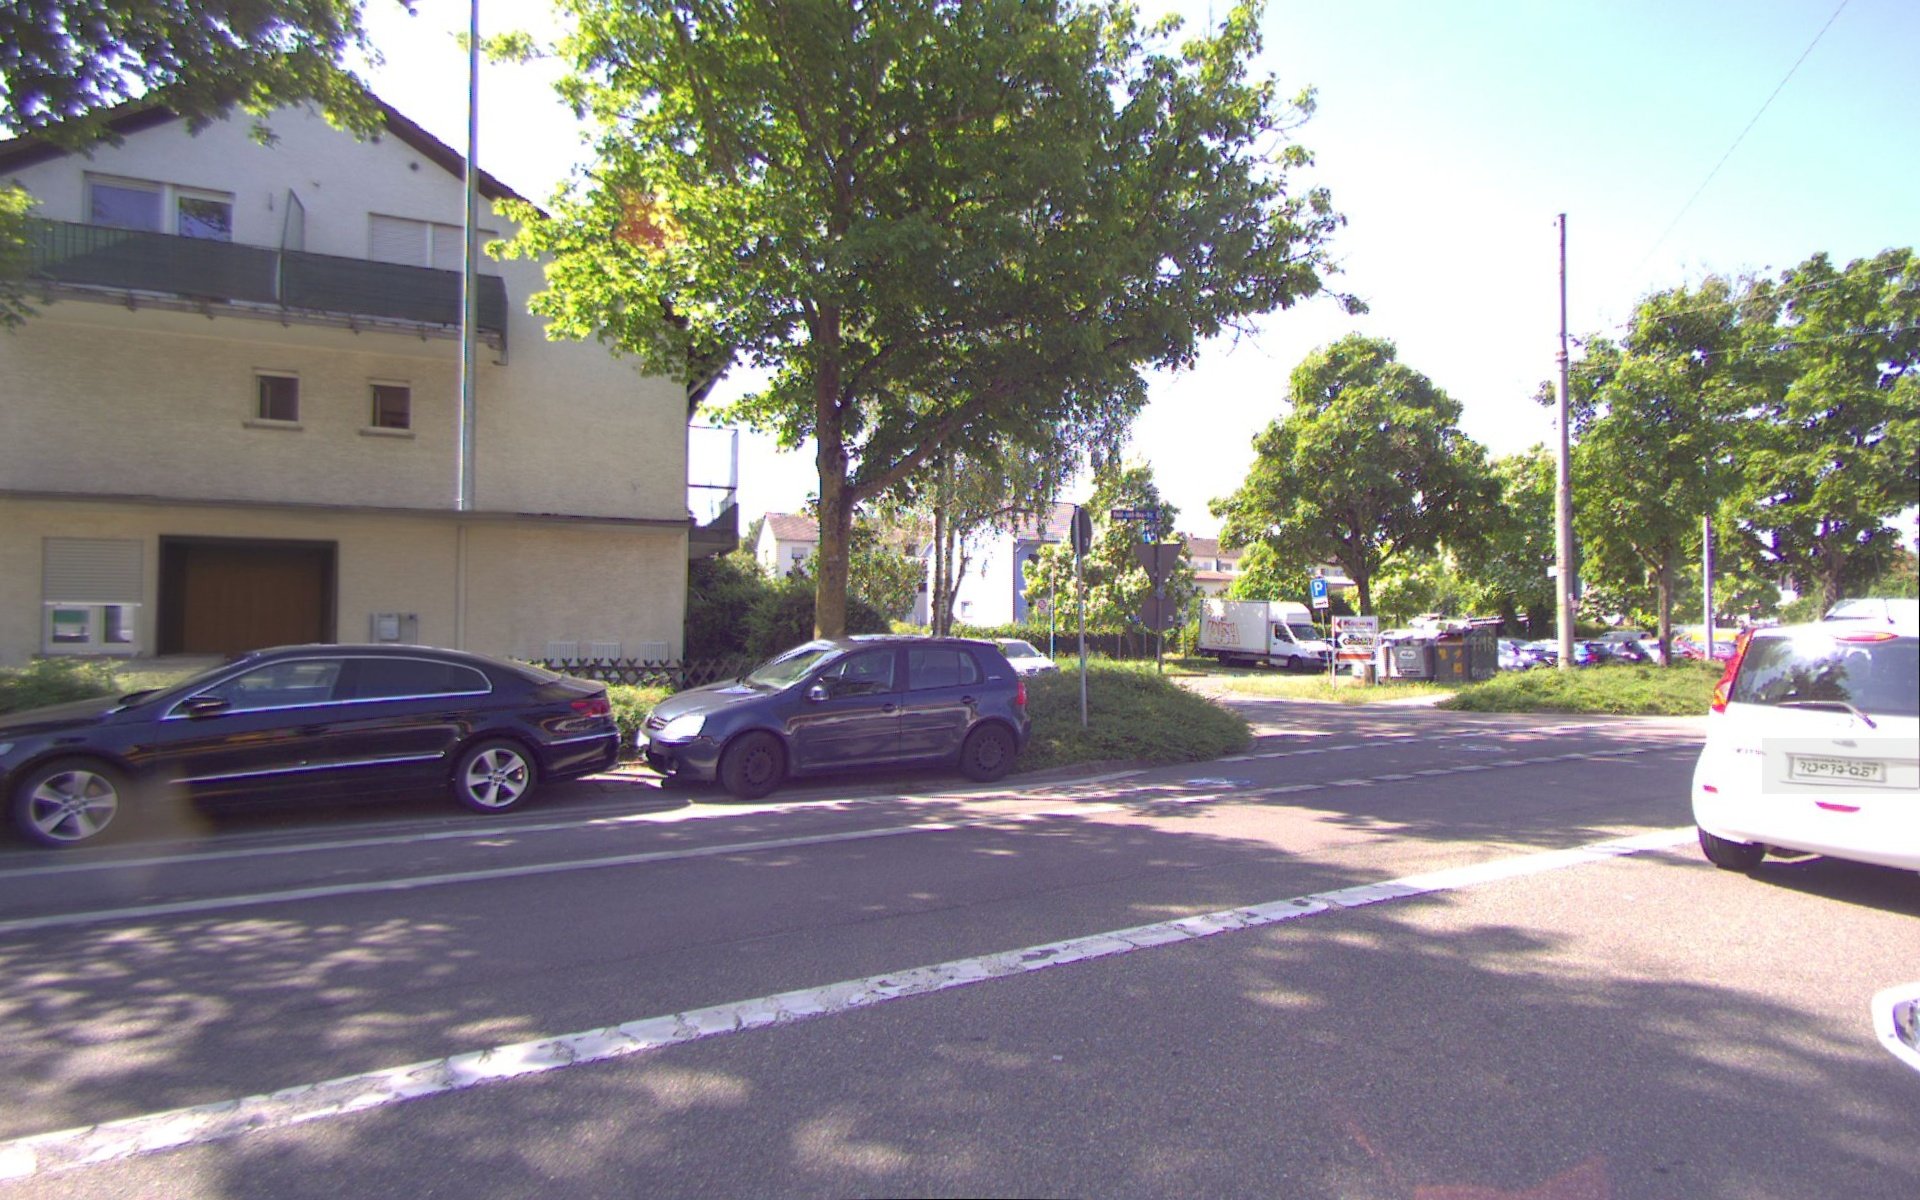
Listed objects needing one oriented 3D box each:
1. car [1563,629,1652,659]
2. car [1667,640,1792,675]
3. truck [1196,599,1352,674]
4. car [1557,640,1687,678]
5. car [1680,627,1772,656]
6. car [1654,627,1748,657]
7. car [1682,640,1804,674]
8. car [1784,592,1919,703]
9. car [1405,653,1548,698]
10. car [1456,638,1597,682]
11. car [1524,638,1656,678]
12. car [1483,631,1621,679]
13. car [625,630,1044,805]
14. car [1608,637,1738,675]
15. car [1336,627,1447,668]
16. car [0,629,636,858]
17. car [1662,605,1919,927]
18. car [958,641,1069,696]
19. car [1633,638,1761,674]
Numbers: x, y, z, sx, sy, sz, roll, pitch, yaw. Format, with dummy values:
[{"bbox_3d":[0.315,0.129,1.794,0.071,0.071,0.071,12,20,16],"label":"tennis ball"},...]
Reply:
[{"bbox_3d":[44.618,3.032,69.292,2.043,1.811,4.762,2,0,-34],"label":"car"},{"bbox_3d":[33.181,2.474,43.410,1.712,1.434,3.964,2,-4,-33],"label":"car"},{"bbox_3d":[14.456,1.597,46.817,2.646,3.151,6.967,1,0,-30],"label":"truck"},{"bbox_3d":[26.340,2.356,40.099,1.712,1.434,3.964,2,-4,-33],"label":"car"},{"bbox_3d":[54.459,2.949,71.488,2.043,1.811,4.762,2,0,-34],"label":"car"},{"bbox_3d":[50.609,2.816,68.685,2.043,1.811,4.762,2,0,-34],"label":"car"},{"bbox_3d":[34.940,2.560,44.919,1.712,1.434,3.964,2,-4,-33],"label":"car"},{"bbox_3d":[23.802,1.161,25.737,5.745,2.550,2.114,1,0,-29],"label":"car"},{"bbox_3d":[17.336,2.510,33.865,1.712,1.434,3.964,2,-4,-33],"label":"car"},{"bbox_3d":[19.709,2.097,35.087,1.712,1.434,3.964,2,-4,-33],"label":"car"},{"bbox_3d":[24.186,2.237,38.676,1.712,1.434,3.964,2,-4,-33],"label":"car"},{"bbox_3d":[21.372,1.992,36.432,1.712,1.631,3.964,2,-4,-33],"label":"car"},{"bbox_3d":[-1.273,1.088,10.460,3.988,1.462,1.718,1,0,-28],"label":"car"},{"bbox_3d":[28.847,2.270,40.742,1.712,1.434,3.964,2,-4,-33],"label":"car"},{"bbox_3d":[21.678,2.351,50.647,2.043,1.811,4.762,2,0,-34],"label":"car"},{"bbox_3d":[-5.242,1.009,8.355,4.568,1.434,1.854,1,0,-31],"label":"car"},{"bbox_3d":[6.474,0.853,6.277,4.491,1.568,1.655,1,-1,-29],"label":"car"},{"bbox_3d":[1.421,1.925,28.417,1.704,1.434,3.983,1,-3,-20],"label":"car"},{"bbox_3d":[30.759,2.361,42.041,1.712,1.434,3.964,2,-4,-33],"label":"car"}]
